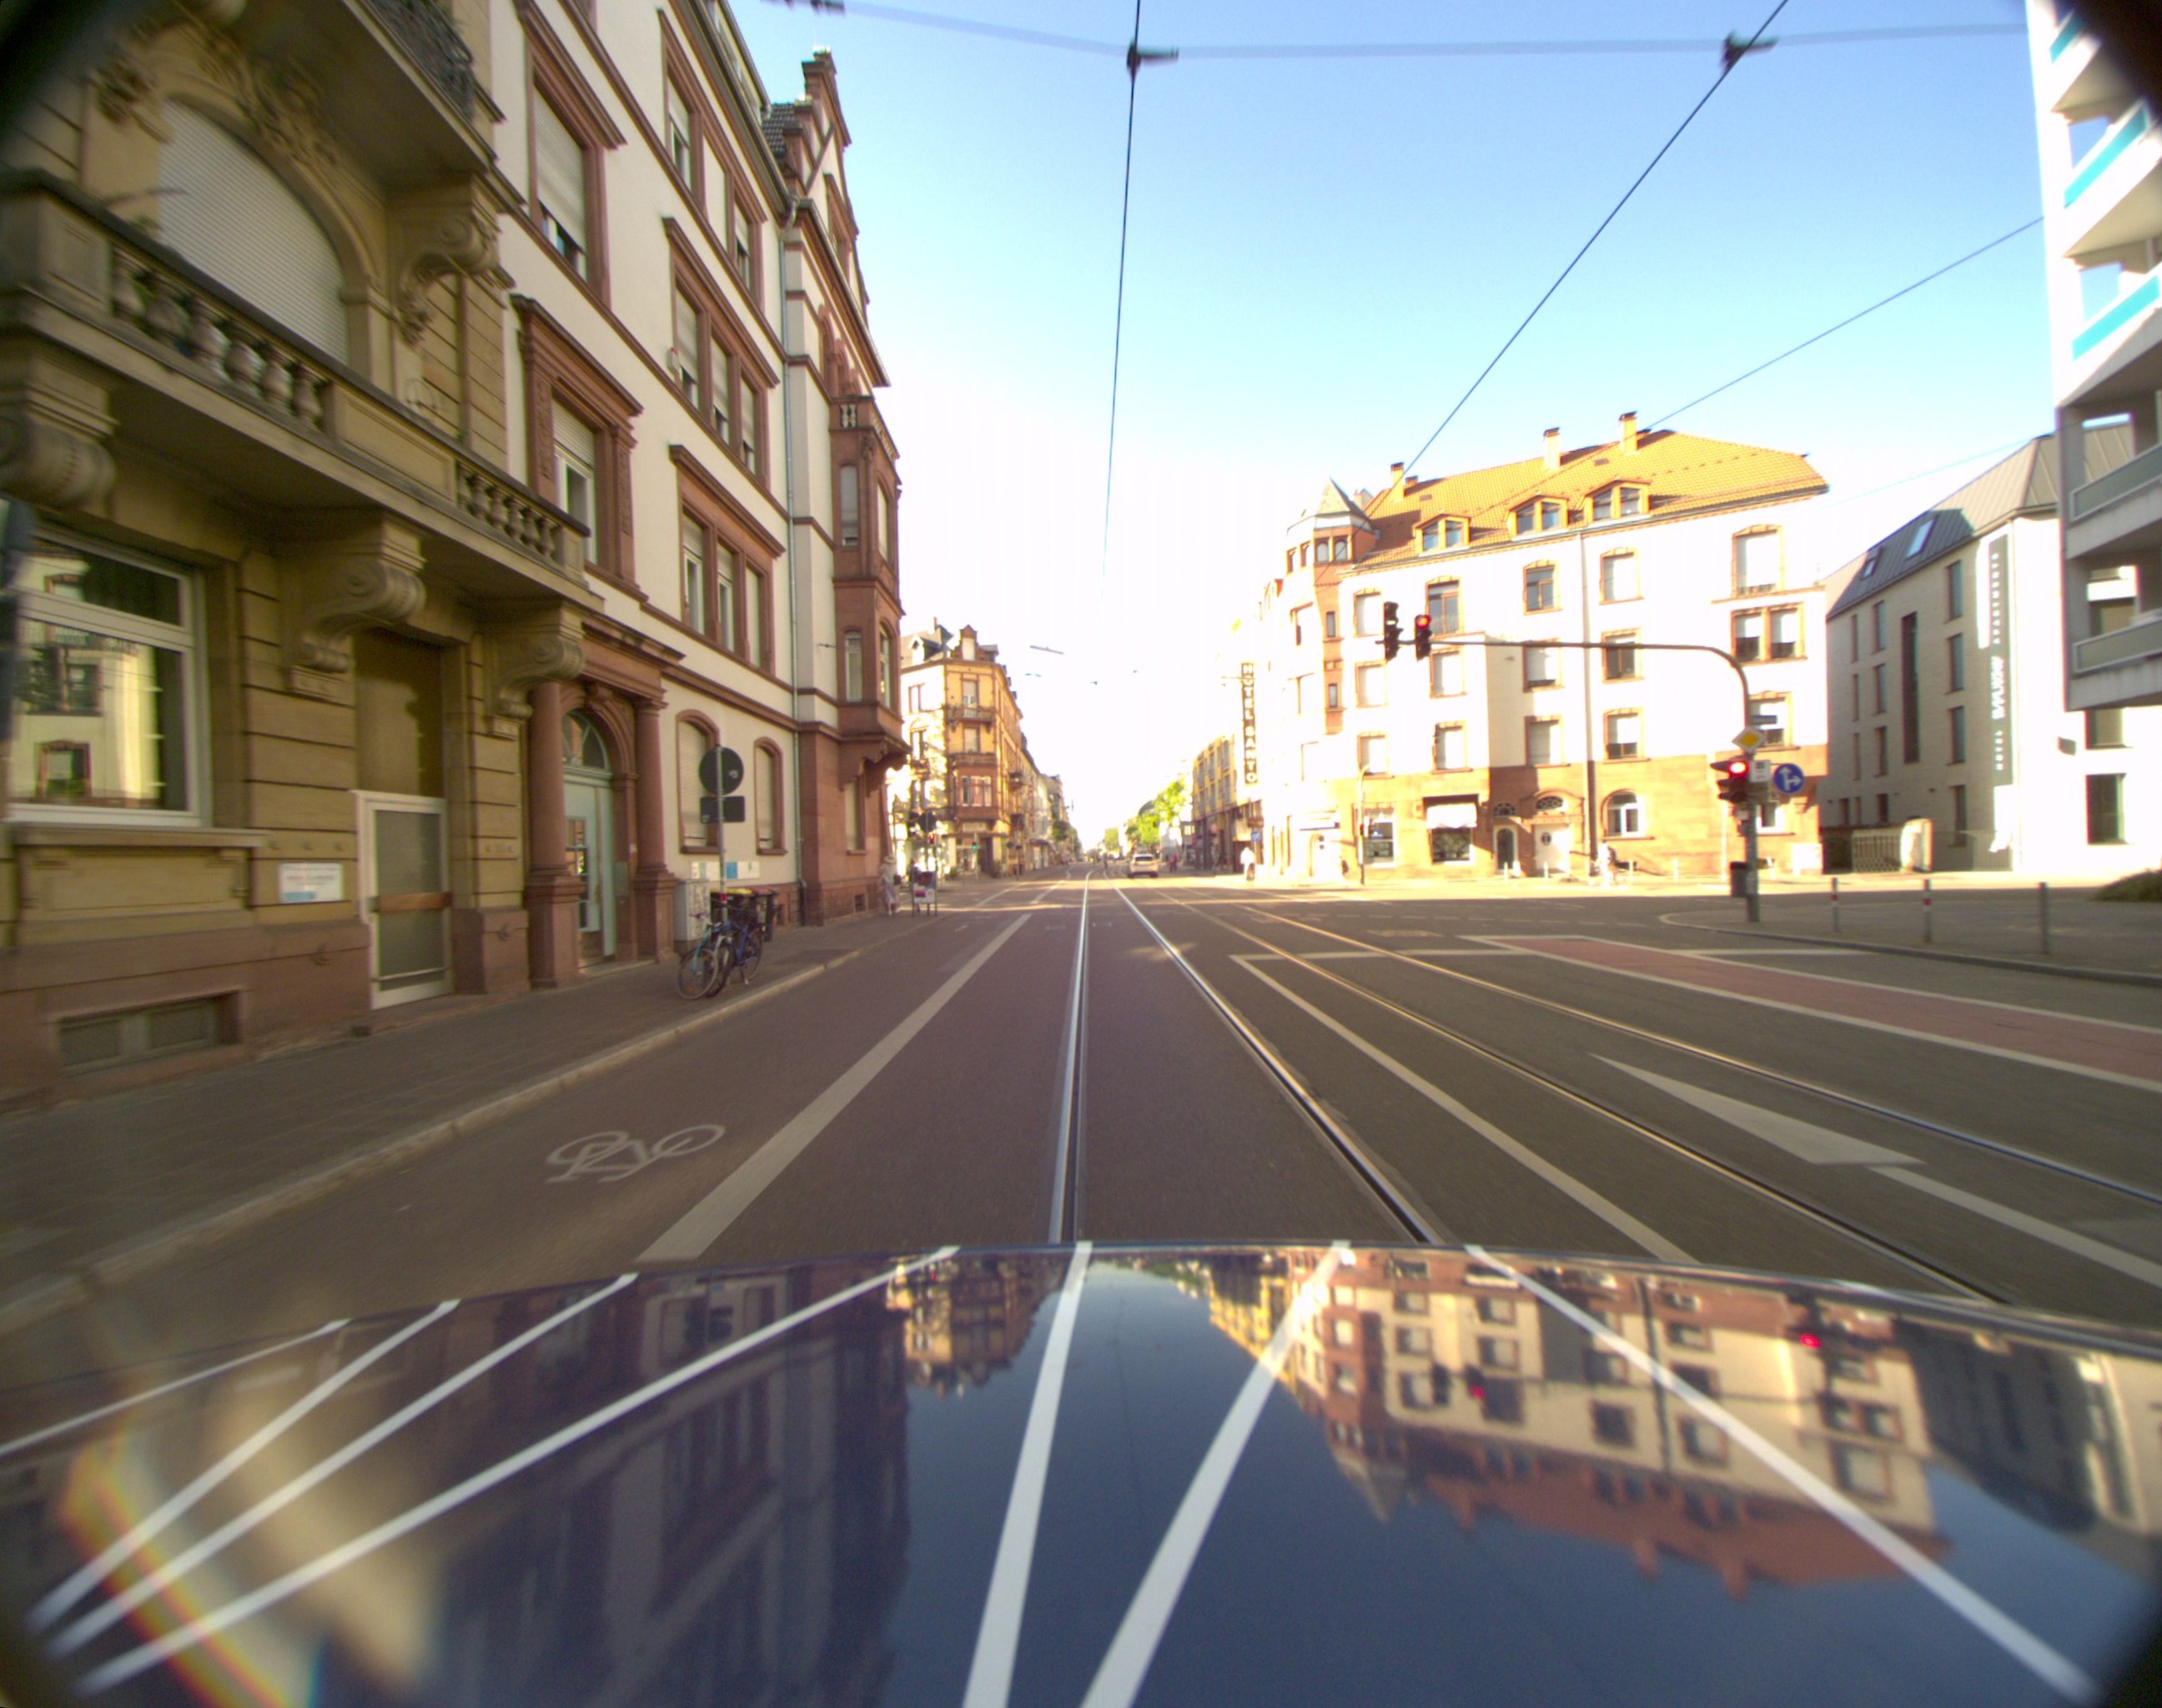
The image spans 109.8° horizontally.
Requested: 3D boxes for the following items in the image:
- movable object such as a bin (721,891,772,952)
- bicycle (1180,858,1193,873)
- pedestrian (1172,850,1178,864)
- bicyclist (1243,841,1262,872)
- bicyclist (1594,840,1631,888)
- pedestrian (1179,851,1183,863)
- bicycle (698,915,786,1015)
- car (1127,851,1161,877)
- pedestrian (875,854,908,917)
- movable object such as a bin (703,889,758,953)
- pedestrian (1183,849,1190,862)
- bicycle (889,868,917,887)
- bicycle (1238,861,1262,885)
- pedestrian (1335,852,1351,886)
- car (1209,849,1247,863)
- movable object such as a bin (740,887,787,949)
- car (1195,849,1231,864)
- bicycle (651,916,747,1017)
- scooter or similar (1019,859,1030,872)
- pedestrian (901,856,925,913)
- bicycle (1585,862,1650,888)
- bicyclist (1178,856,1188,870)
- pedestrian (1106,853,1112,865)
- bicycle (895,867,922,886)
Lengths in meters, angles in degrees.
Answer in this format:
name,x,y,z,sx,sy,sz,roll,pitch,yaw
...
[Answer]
name,x,y,z,sx,sy,sz,roll,pitch,yaw
movable object such as a bin,-6.189,1.242,14.081,0.667,1.070,0.571,-1,0,-1
bicycle,8.699,0.927,62.542,0.732,1.176,2.061,-1,0,-1
pedestrian,13.679,0.414,110.419,0.639,1.935,0.709,-1,1,-1
bicyclist,8.256,0.127,36.642,0.684,1.474,0.778,-2,0,0
bicyclist,19.943,0.384,28.498,0.617,1.753,0.971,-2,1,-39
pedestrian,14.488,0.438,109.979,0.573,1.607,0.499,-1,0,0
bicycle,-4.058,1.288,9.203,0.432,0.942,1.762,-1,0,-7
car,4.480,0.686,54.796,1.999,1.734,4.562,-2,0,-1
pedestrian,-5.477,0.901,21.970,0.707,1.771,0.673,-3,-1,-1
movable object such as a bin,-6.186,1.174,13.430,0.667,1.070,0.571,-1,1,0
pedestrian,14.616,0.177,104.899,0.715,1.754,0.779,-2,1,-8
bicycle,-11.900,1.542,50.834,0.617,1.136,2.123,-1,1,23
bicycle,8.219,0.894,37.042,0.694,1.114,2.083,-1,0,0
pedestrian,12.131,0.706,35.168,0.544,1.543,0.516,-2,1,-1
car,17.387,0.211,90.010,4.244,1.539,1.784,-1,2,1
movable object such as a bin,-6.146,1.228,14.729,0.667,1.147,0.594,0,0,-1
car,16.524,0.299,95.438,4.244,1.802,1.784,-1,2,1
bicycle,-4.547,1.300,9.155,0.432,0.942,1.762,-1,0,-6
scooter or similar,-5.105,1.066,68.534,0.899,1.142,0.547,2,0,-1
pedestrian,-5.131,0.924,23.206,0.628,1.691,0.682,-2,1,-8
bicycle,20.034,0.790,28.410,0.793,0.904,1.809,-2,0,-38
bicyclist,9.779,0.846,72.706,0.737,1.373,1.468,-1,0,-1
pedestrian,3.781,0.692,101.788,0.781,1.551,0.650,-1,1,0
bicycle,-11.489,1.494,50.610,0.617,1.136,2.123,-1,2,23
